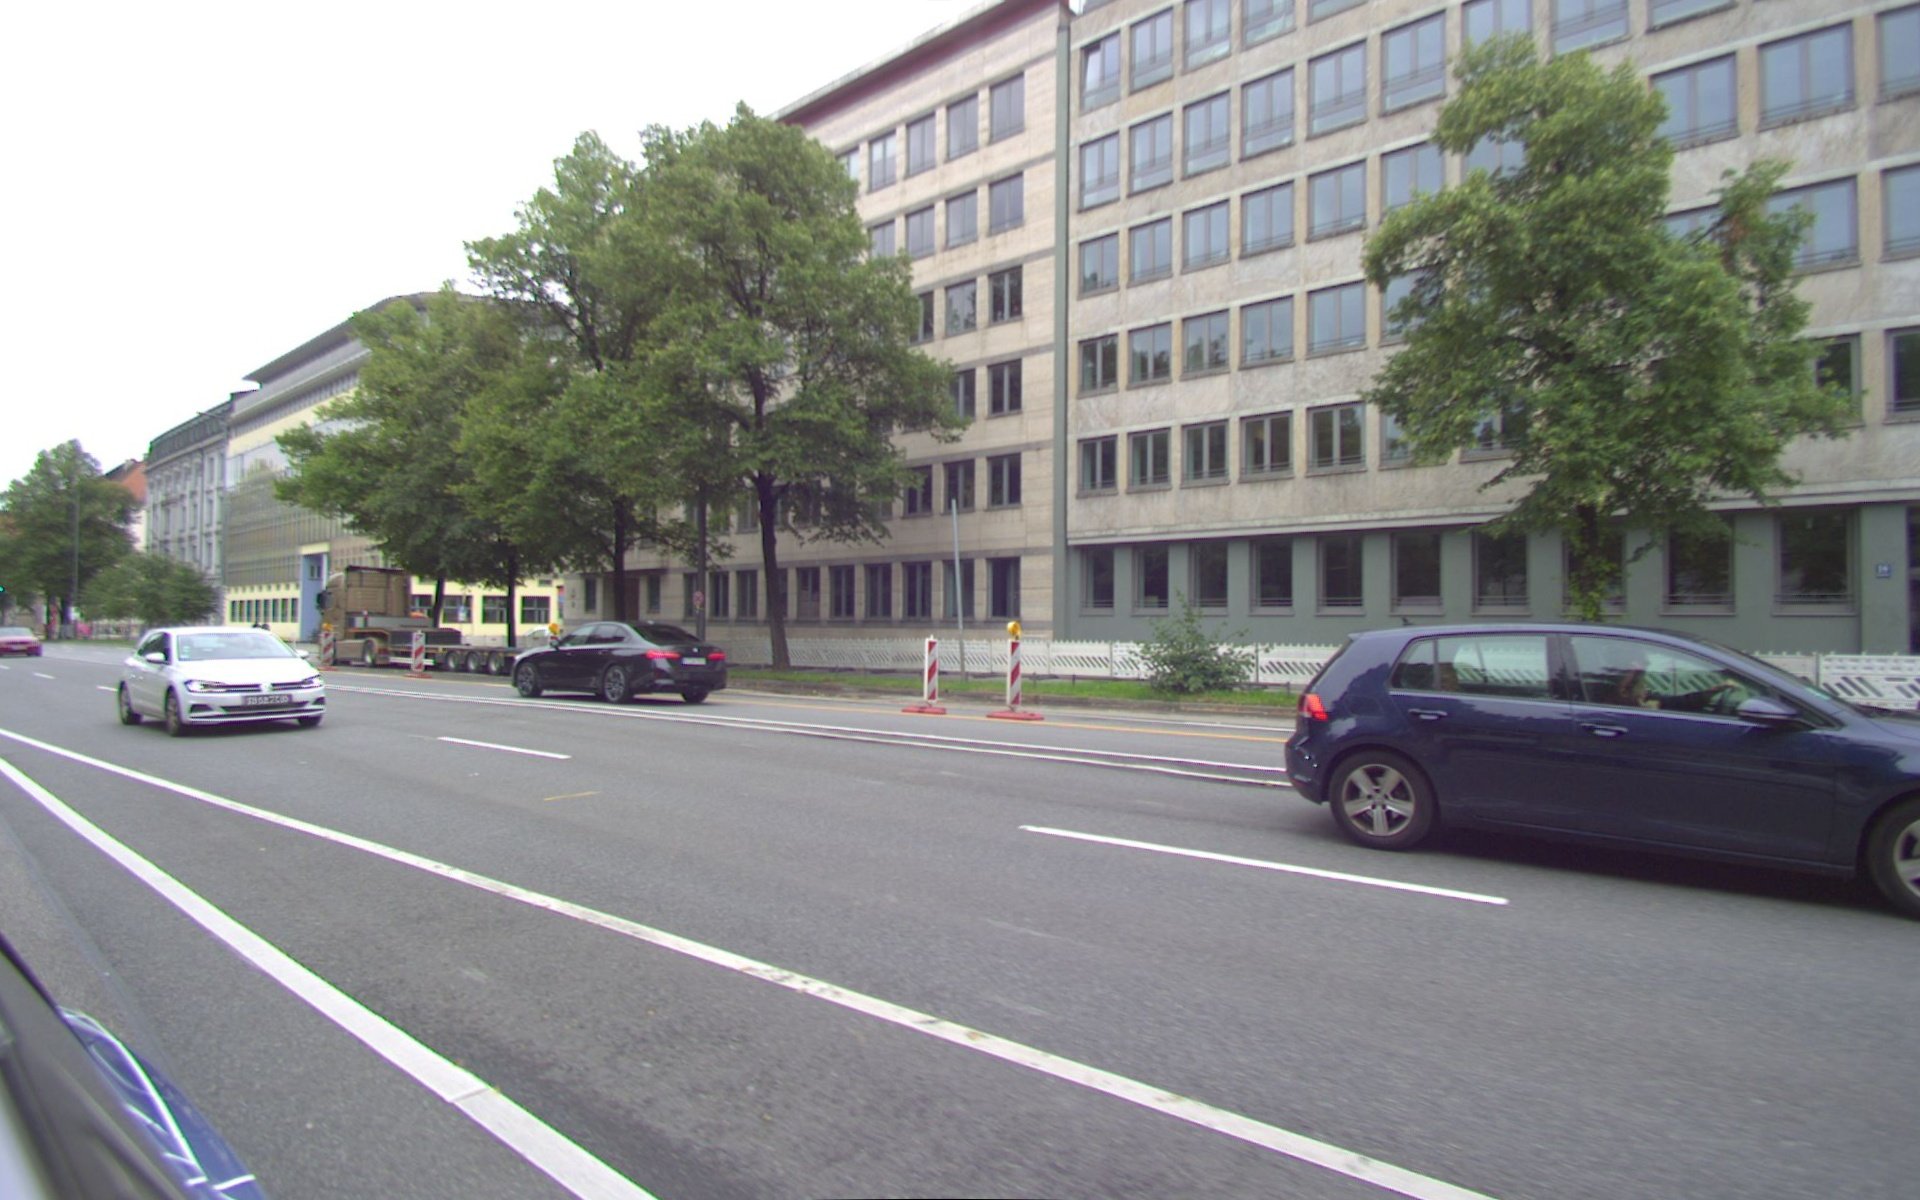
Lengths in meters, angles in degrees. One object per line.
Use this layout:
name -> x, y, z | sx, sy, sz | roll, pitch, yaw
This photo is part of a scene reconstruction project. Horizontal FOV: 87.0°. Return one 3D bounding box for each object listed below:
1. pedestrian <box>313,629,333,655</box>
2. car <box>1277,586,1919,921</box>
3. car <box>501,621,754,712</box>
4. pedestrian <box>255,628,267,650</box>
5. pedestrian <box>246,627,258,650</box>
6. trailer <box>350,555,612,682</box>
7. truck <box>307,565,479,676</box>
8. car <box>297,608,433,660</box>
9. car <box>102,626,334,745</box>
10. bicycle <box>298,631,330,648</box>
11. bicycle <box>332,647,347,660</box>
pedestrian -> -43.788, 2.884, 69.596 | 0.978, 1.747, 0.817 | -1, -1, -18
car -> 4.255, 0.735, 5.843 | 4.336, 1.528, 1.674 | -1, -2, 40
car -> -6.307, 1.155, 18.881 | 5.207, 1.476, 1.859 | -1, -2, 37
pedestrian -> -55.480, 3.091, 80.352 | 0.835, 1.790, 0.609 | -2, -1, 42
pedestrian -> -55.897, 3.023, 79.863 | 0.835, 1.790, 0.609 | -2, -1, 42
trailer -> -16.725, 0.650, 34.686 | 11.747, 3.768, 2.923 | -1, -1, 36
truck -> -21.584, 0.771, 38.336 | 7.653, 3.803, 2.889 | -1, -1, 37
car -> -30.567, 1.744, 52.144 | 2.153, 2.556, 5.627 | -1, -2, 37
car -> -10.765, 1.107, 14.577 | 4.273, 1.458, 1.774 | -1, -2, 41
bicycle -> -50.372, 3.073, 78.913 | 0.637, 1.328, 1.990 | -1, -1, 35
bicycle -> -44.250, 3.818, 72.139 | 1.738, 0.884, 0.471 | -2, -3, 44
